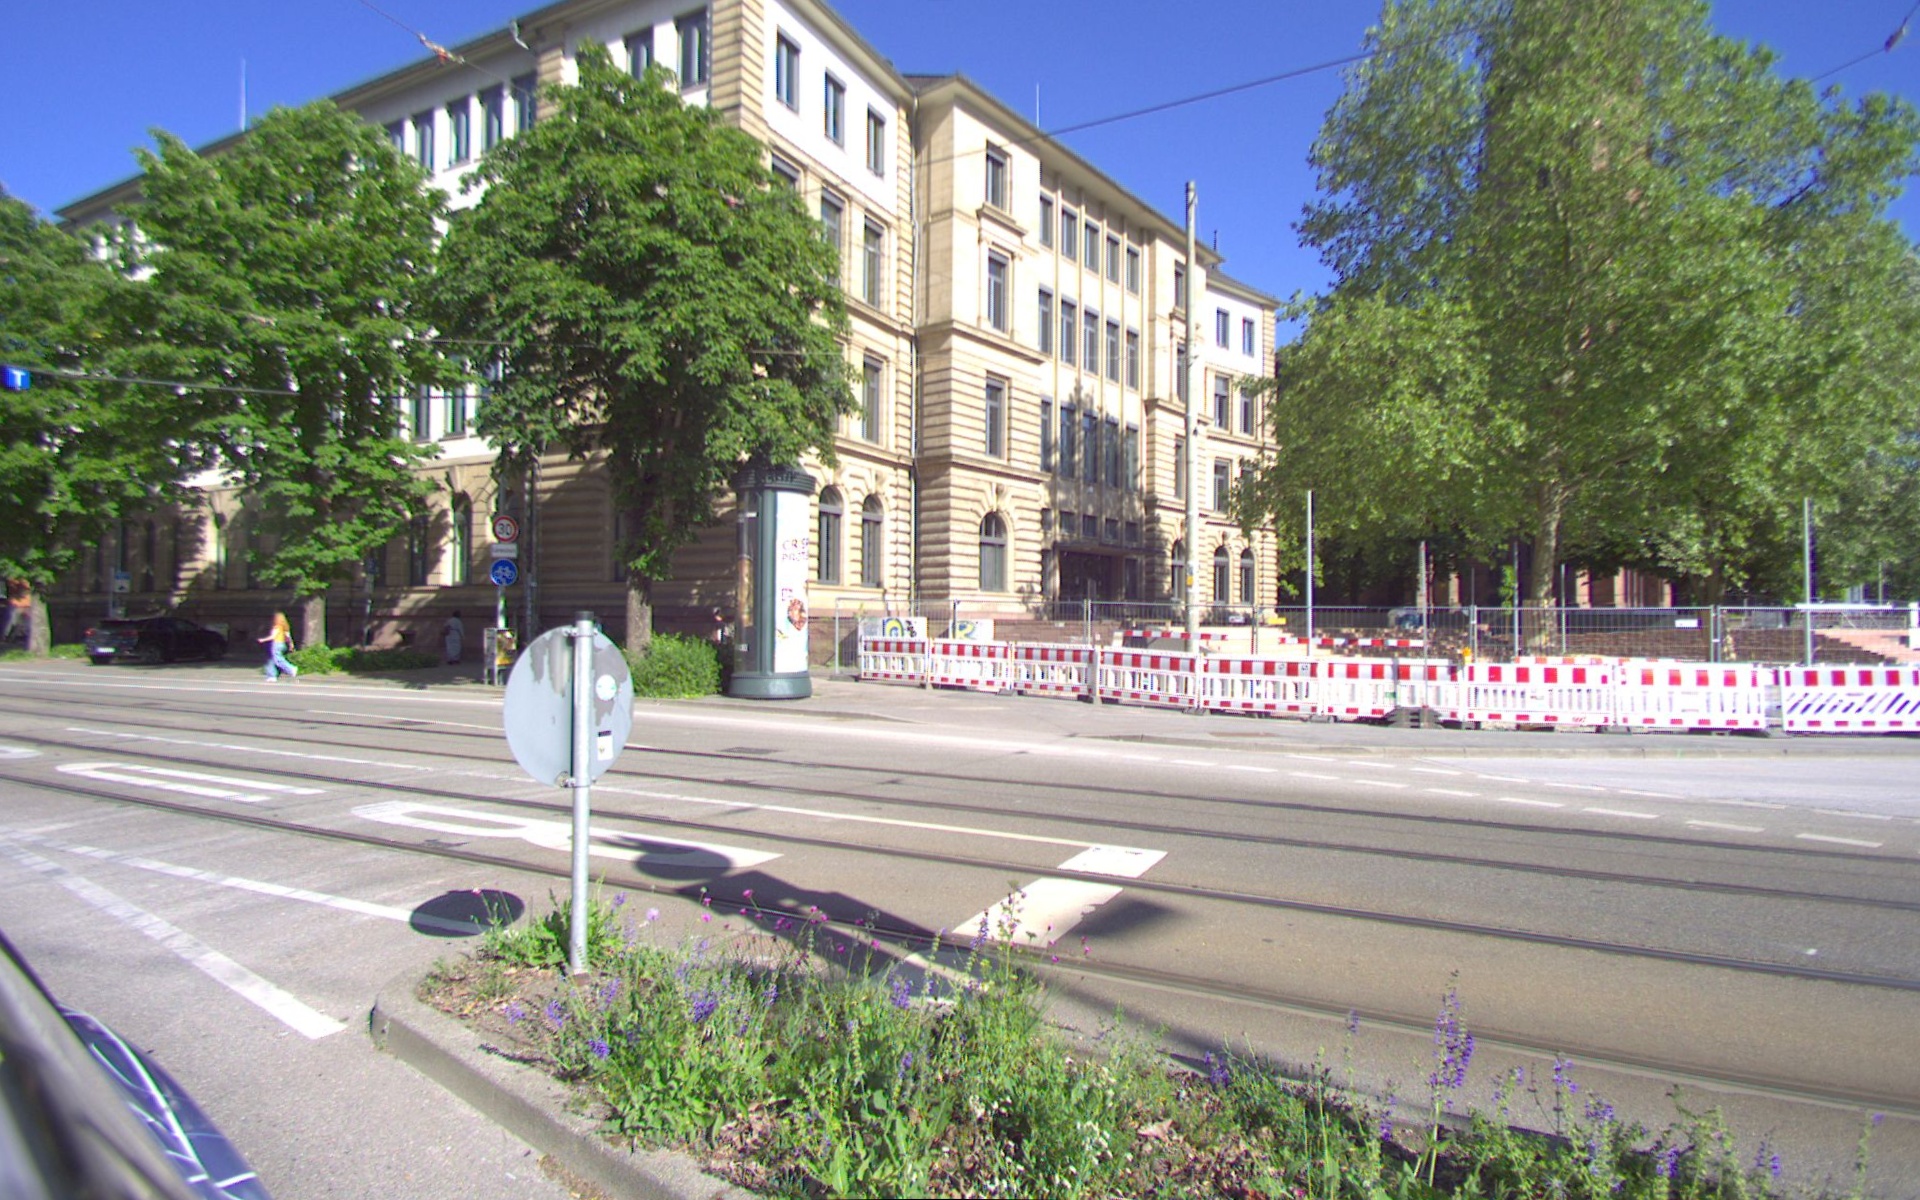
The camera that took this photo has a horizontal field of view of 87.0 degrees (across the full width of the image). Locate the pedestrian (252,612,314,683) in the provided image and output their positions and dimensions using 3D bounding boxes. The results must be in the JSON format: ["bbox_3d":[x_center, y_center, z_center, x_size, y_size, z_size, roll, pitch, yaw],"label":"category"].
[{"bbox_3d":[-16.730,1.189,25.031,1.024,1.682,0.768,-4,-5,15],"label":"pedestrian"}]

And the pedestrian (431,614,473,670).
[{"bbox_3d":[-15.130,1.235,30.136,0.671,1.578,0.849,0,2,31],"label":"pedestrian"}]

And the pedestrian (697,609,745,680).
[{"bbox_3d":[-5.900,1.084,24.963,0.839,1.682,0.725,2,0,19],"label":"pedestrian"}]

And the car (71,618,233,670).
[{"bbox_3d":[-26.042,1.389,32.823,1.895,1.586,4.108,0,-2,1],"label":"car"}]

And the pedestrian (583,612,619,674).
[{"bbox_3d":[-9.253,1.091,26.102,0.651,1.574,0.573,-1,-2,29],"label":"pedestrian"}]

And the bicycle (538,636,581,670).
[{"bbox_3d":[-11.449,1.514,28.925,1.356,0.910,0.394,0,0,31],"label":"bicycle"}]
